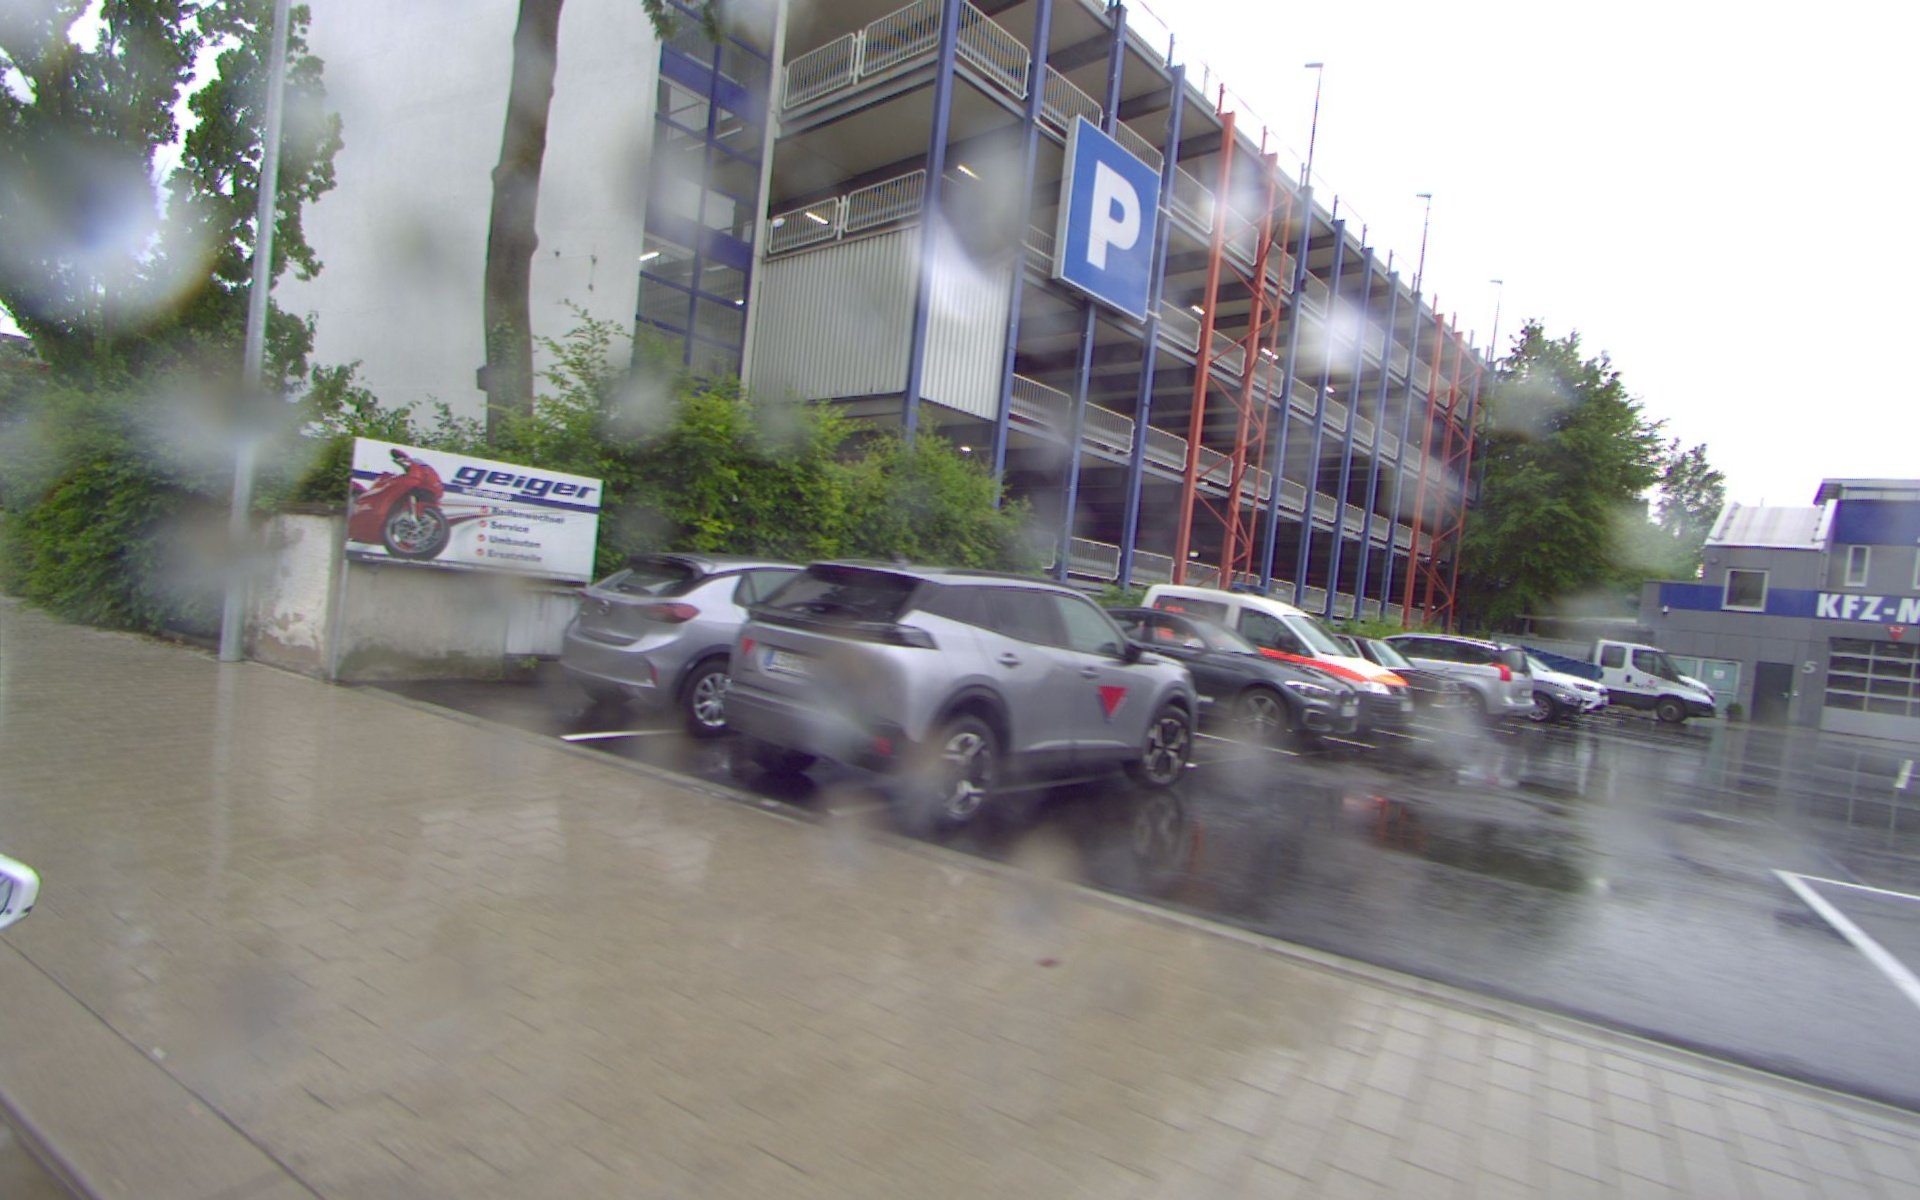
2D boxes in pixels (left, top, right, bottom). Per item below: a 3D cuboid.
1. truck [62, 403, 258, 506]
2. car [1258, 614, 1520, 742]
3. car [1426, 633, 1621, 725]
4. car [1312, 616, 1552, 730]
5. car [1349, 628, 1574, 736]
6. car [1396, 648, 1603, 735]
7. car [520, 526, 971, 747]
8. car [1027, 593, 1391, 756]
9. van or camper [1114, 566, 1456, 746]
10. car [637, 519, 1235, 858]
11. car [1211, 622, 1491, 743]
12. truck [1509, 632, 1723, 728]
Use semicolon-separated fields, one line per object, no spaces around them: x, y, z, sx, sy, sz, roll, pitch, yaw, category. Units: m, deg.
-42.159;-7.574;53.426;2.629;3.480;7.762;6;-4;16;truck
7.803;1.364;18.545;3.946;1.701;1.725;8;2;44;car
14.479;2.008;25.946;3.947;1.833;1.891;4;-5;42;car
9.553;1.427;20.541;3.946;1.701;1.725;8;2;44;car
10.932;1.735;22.114;3.946;1.701;1.725;8;2;44;car
12.848;2.166;24.066;3.947;1.502;1.891;4;-5;42;car
-1.788;0.335;9.203;1.780;1.514;3.615;7;1;40;car
3.198;0.904;13.356;4.146;1.460;1.930;7;0;40;car
4.801;0.757;15.298;4.401;2.062;1.834;7;1;43;van or camper
0.093;0.507;7.380;1.972;1.671;4.198;7;2;41;car
6.497;1.308;16.919;3.941;1.372;1.728;8;2;39;car
20.375;2.460;31.402;5.234;2.293;1.993;4;-4;41;truck
